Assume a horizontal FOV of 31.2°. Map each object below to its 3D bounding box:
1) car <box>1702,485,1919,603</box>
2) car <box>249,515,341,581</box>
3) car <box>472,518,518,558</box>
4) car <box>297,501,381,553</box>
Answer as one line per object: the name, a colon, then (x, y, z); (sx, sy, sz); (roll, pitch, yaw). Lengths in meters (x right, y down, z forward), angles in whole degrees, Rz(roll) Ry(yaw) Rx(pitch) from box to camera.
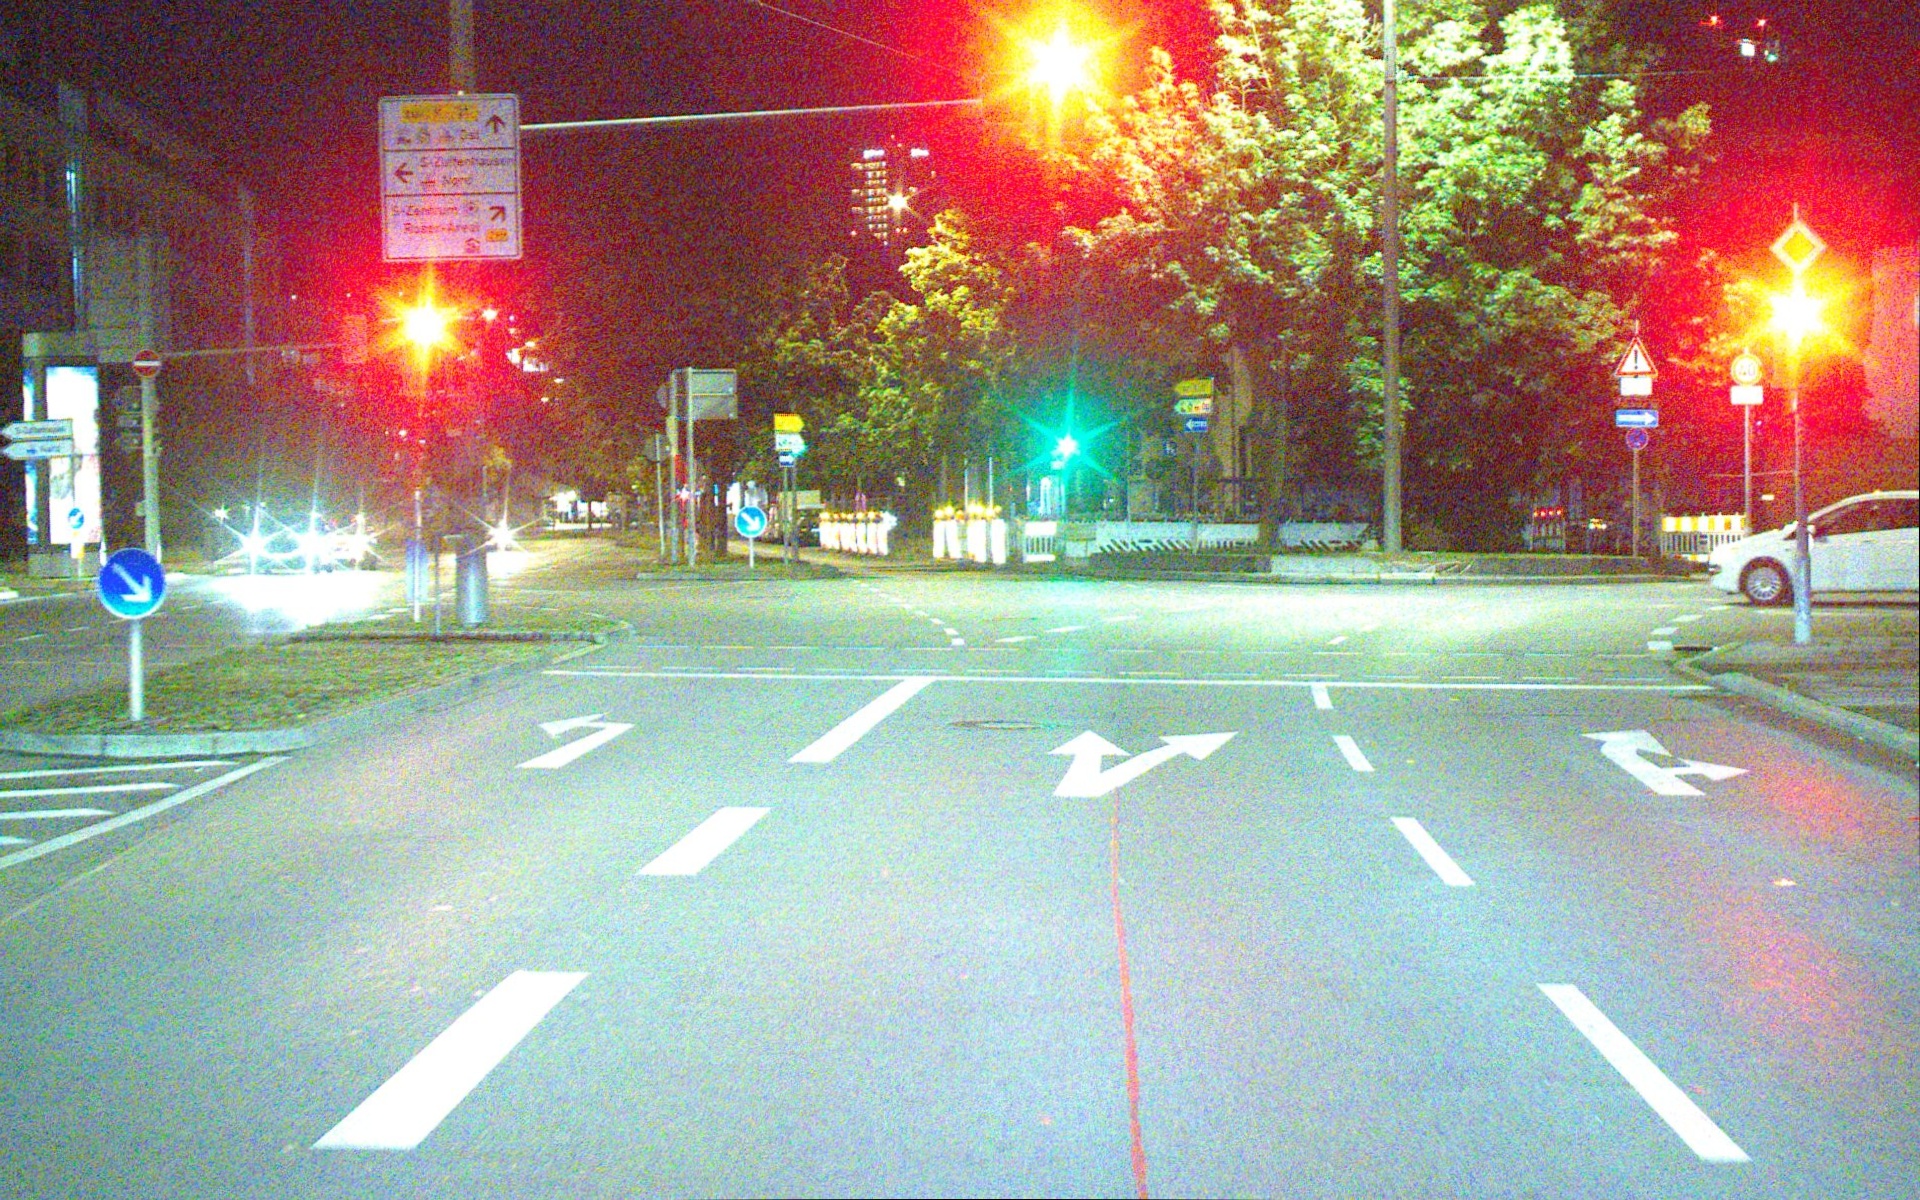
car: (11.836, -0.730, 44.646); (3.993, 1.486, 1.706); (0, 1, 28)
car: (-15.686, -1.233, 81.268); (1.615, 1.509, 4.001); (0, 1, -3)
car: (-20.355, -2.710, 150.639); (1.757, 1.722, 3.548); (0, 1, -4)
car: (-15.975, -1.871, 88.563); (1.757, 1.317, 3.548); (0, 1, -4)
